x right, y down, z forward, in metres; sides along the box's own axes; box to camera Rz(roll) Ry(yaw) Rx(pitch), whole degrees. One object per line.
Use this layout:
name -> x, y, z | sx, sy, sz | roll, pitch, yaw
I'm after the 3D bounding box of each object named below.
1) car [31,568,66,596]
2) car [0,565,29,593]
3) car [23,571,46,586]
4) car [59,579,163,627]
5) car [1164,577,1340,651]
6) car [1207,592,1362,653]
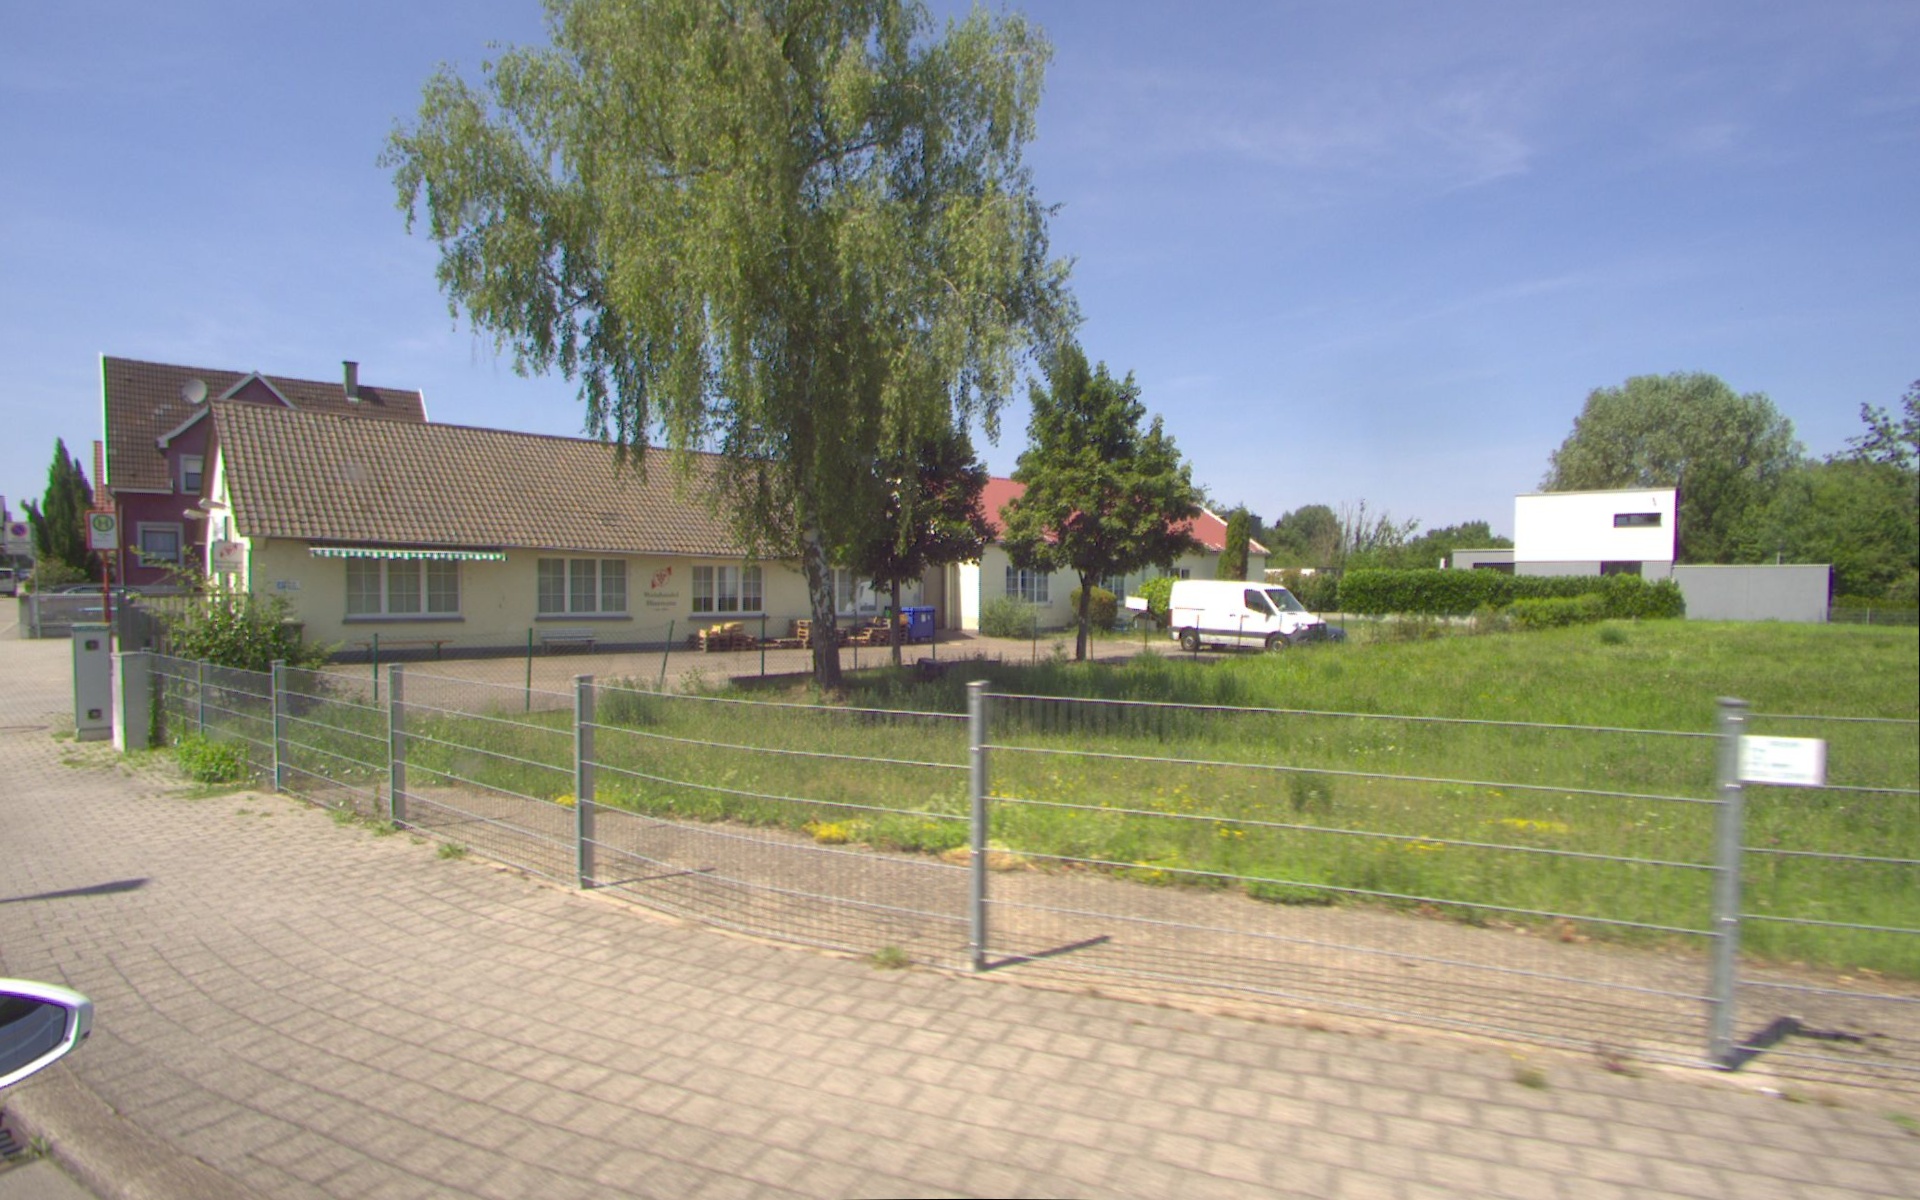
car -> -72.132, -1.385, 79.266 | 1.937, 2.100, 3.965 | -1, 0, -41
car -> -65.407, -1.441, 68.845 | 1.837, 1.810, 3.965 | -1, 0, -41
car -> -123.773, -2.863, 133.956 | 1.938, 1.837, 3.969 | 1, -1, -38
car -> -29.513, 0.086, 34.862 | 2.723, 1.619, 1.161 | -1, 0, -41
car -> 9.510, 0.450, 32.919 | 5.131, 2.230, 2.195 | -1, 0, 45
car -> 11.538, 0.764, 35.852 | 2.049, 2.040, 4.884 | -1, 0, -44
